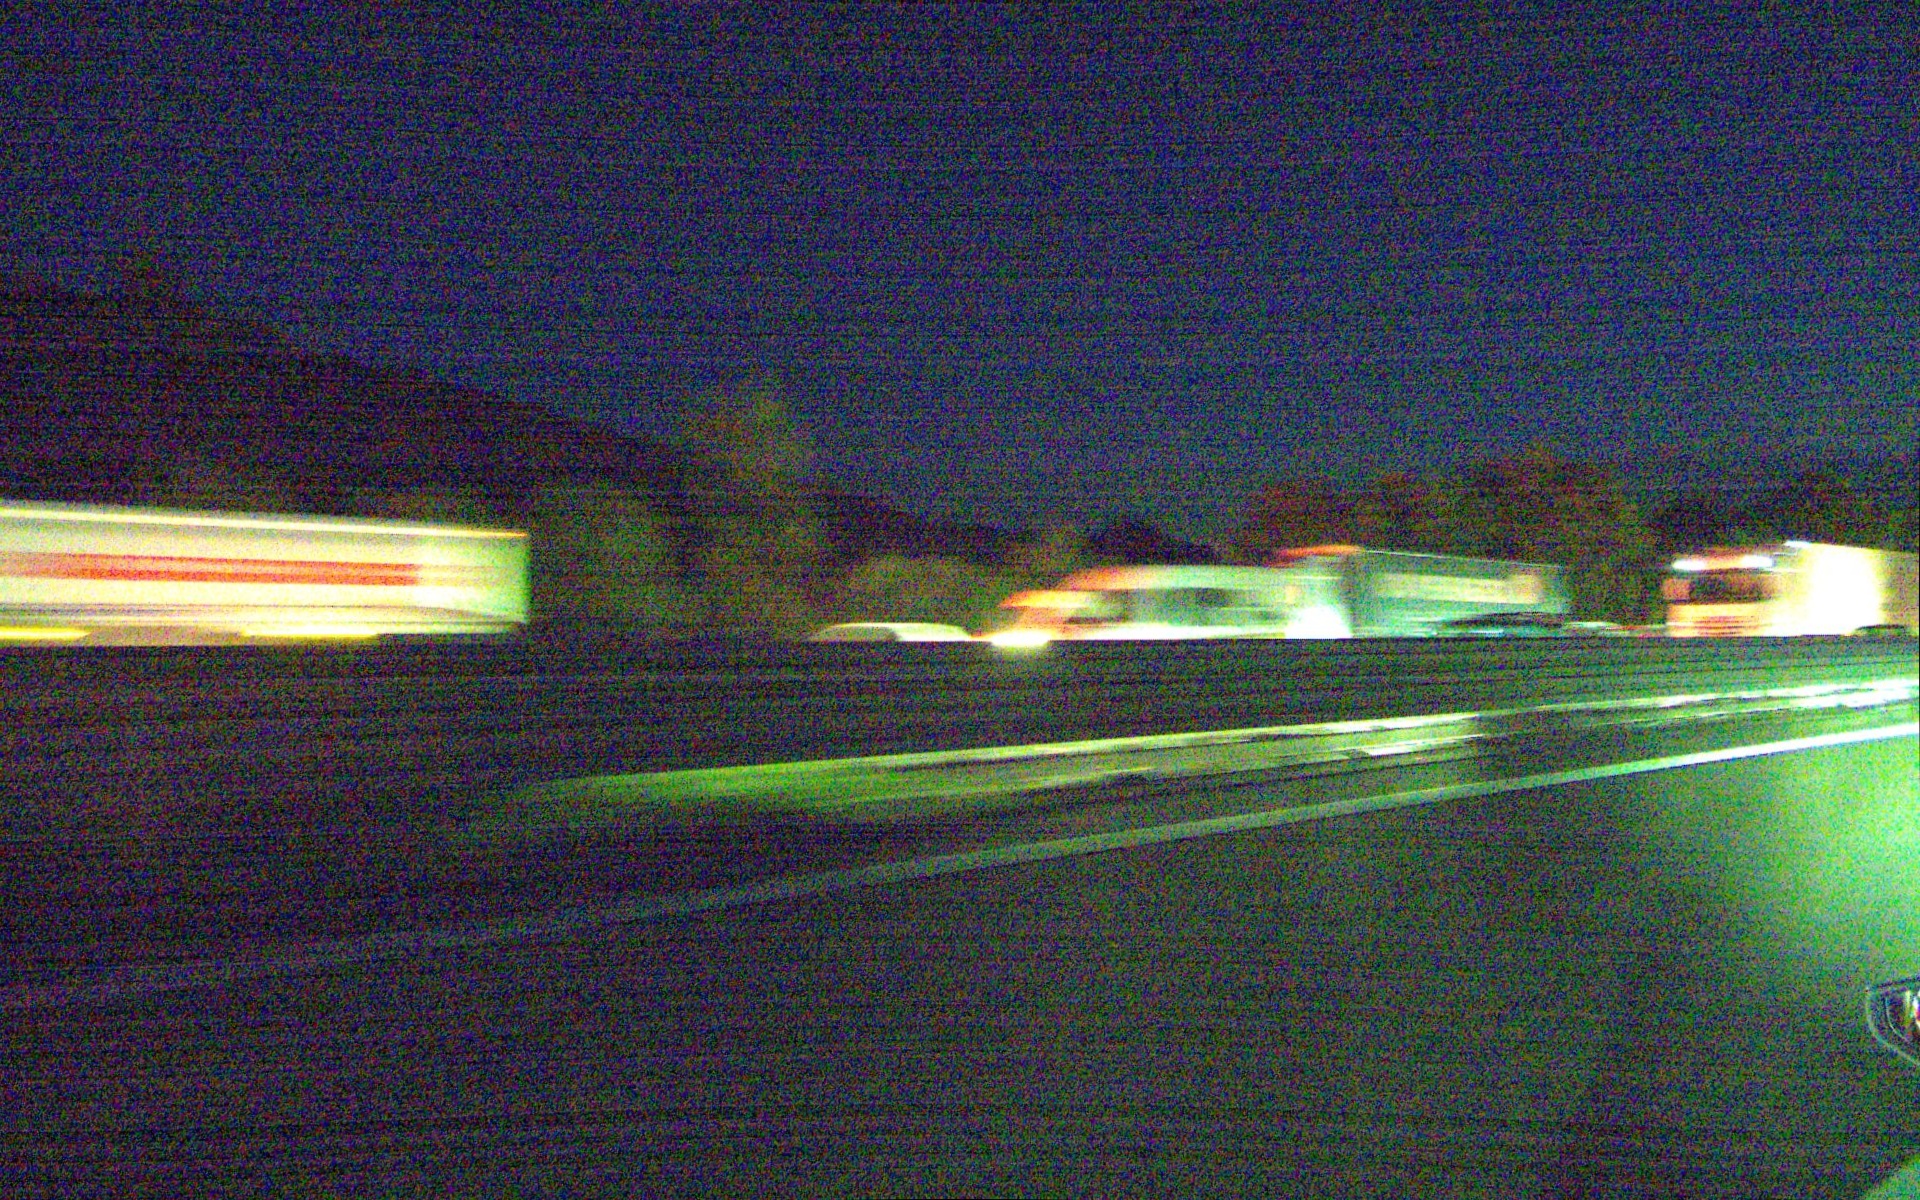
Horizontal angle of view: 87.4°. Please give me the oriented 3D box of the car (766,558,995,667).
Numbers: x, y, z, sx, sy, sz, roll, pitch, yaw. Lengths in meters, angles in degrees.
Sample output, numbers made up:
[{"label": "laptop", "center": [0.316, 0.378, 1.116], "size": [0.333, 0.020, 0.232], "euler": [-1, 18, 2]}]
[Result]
[{"label": "car", "center": [-1.616, 0.288, 20.809], "size": [4.266, 2.040, 1.982], "euler": [2, 0, -32]}]

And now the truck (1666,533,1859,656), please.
[{"label": "truck", "center": [26.977, -0.080, 33.700], "size": [6.704, 3.722, 2.859], "euler": [2, 0, -32]}]

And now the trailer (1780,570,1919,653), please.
[{"label": "trailer", "center": [45.808, 0.599, 49.978], "size": [15.063, 3.720, 2.871], "euler": [1, 0, -31]}]

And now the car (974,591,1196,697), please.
[{"label": "car", "center": [3.670, 1.176, 28.860], "size": [6.287, 2.755, 2.301], "euler": [1, 1, -32]}]

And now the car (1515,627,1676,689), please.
[{"label": "car", "center": [17.340, 1.567, 27.345], "size": [4.591, 1.505, 1.721], "euler": [2, 0, -30]}]

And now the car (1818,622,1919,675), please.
[{"label": "car", "center": [27.228, 1.422, 29.618], "size": [3.960, 1.377, 1.980], "euler": [2, 0, -35]}]

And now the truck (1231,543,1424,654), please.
[{"label": "truck", "center": [12.700, 0.013, 34.576], "size": [6.289, 3.488, 2.945], "euler": [1, 0, -31]}]

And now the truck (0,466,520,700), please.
[{"label": "truck", "center": [-10.966, -0.106, 15.513], "size": [7.318, 3.025, 2.749], "euler": [2, -2, -31]}]

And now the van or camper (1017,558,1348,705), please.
[{"label": "van or camper", "center": [4.872, 0.672, 21.180], "size": [7.519, 2.667, 2.073], "euler": [1, -2, -32]}]

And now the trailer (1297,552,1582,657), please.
[{"label": "trailer", "center": [18.516, 0.274, 38.151], "size": [13.283, 3.488, 2.944], "euler": [1, 0, -31]}]

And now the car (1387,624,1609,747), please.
[{"label": "car", "center": [10.242, 1.548, 19.065], "size": [3.956, 2.040, 1.983], "euler": [2, 0, -32]}]

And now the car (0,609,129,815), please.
[{"label": "car", "center": [-11.385, 1.117, 10.417], "size": [3.956, 2.040, 1.983], "euler": [2, 0, -32]}]

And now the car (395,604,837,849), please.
[{"label": "car", "center": [-3.519, 1.148, 10.415], "size": [3.956, 2.040, 1.983], "euler": [2, 0, -32]}]

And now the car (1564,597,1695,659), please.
[{"label": "car", "center": [24.318, 1.032, 36.416], "size": [5.186, 2.040, 1.982], "euler": [2, 0, -32]}]

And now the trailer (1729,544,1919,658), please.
[{"label": "trailer", "center": [33.185, 0.203, 37.580], "size": [12.082, 3.720, 2.870], "euler": [2, 0, -32]}]
